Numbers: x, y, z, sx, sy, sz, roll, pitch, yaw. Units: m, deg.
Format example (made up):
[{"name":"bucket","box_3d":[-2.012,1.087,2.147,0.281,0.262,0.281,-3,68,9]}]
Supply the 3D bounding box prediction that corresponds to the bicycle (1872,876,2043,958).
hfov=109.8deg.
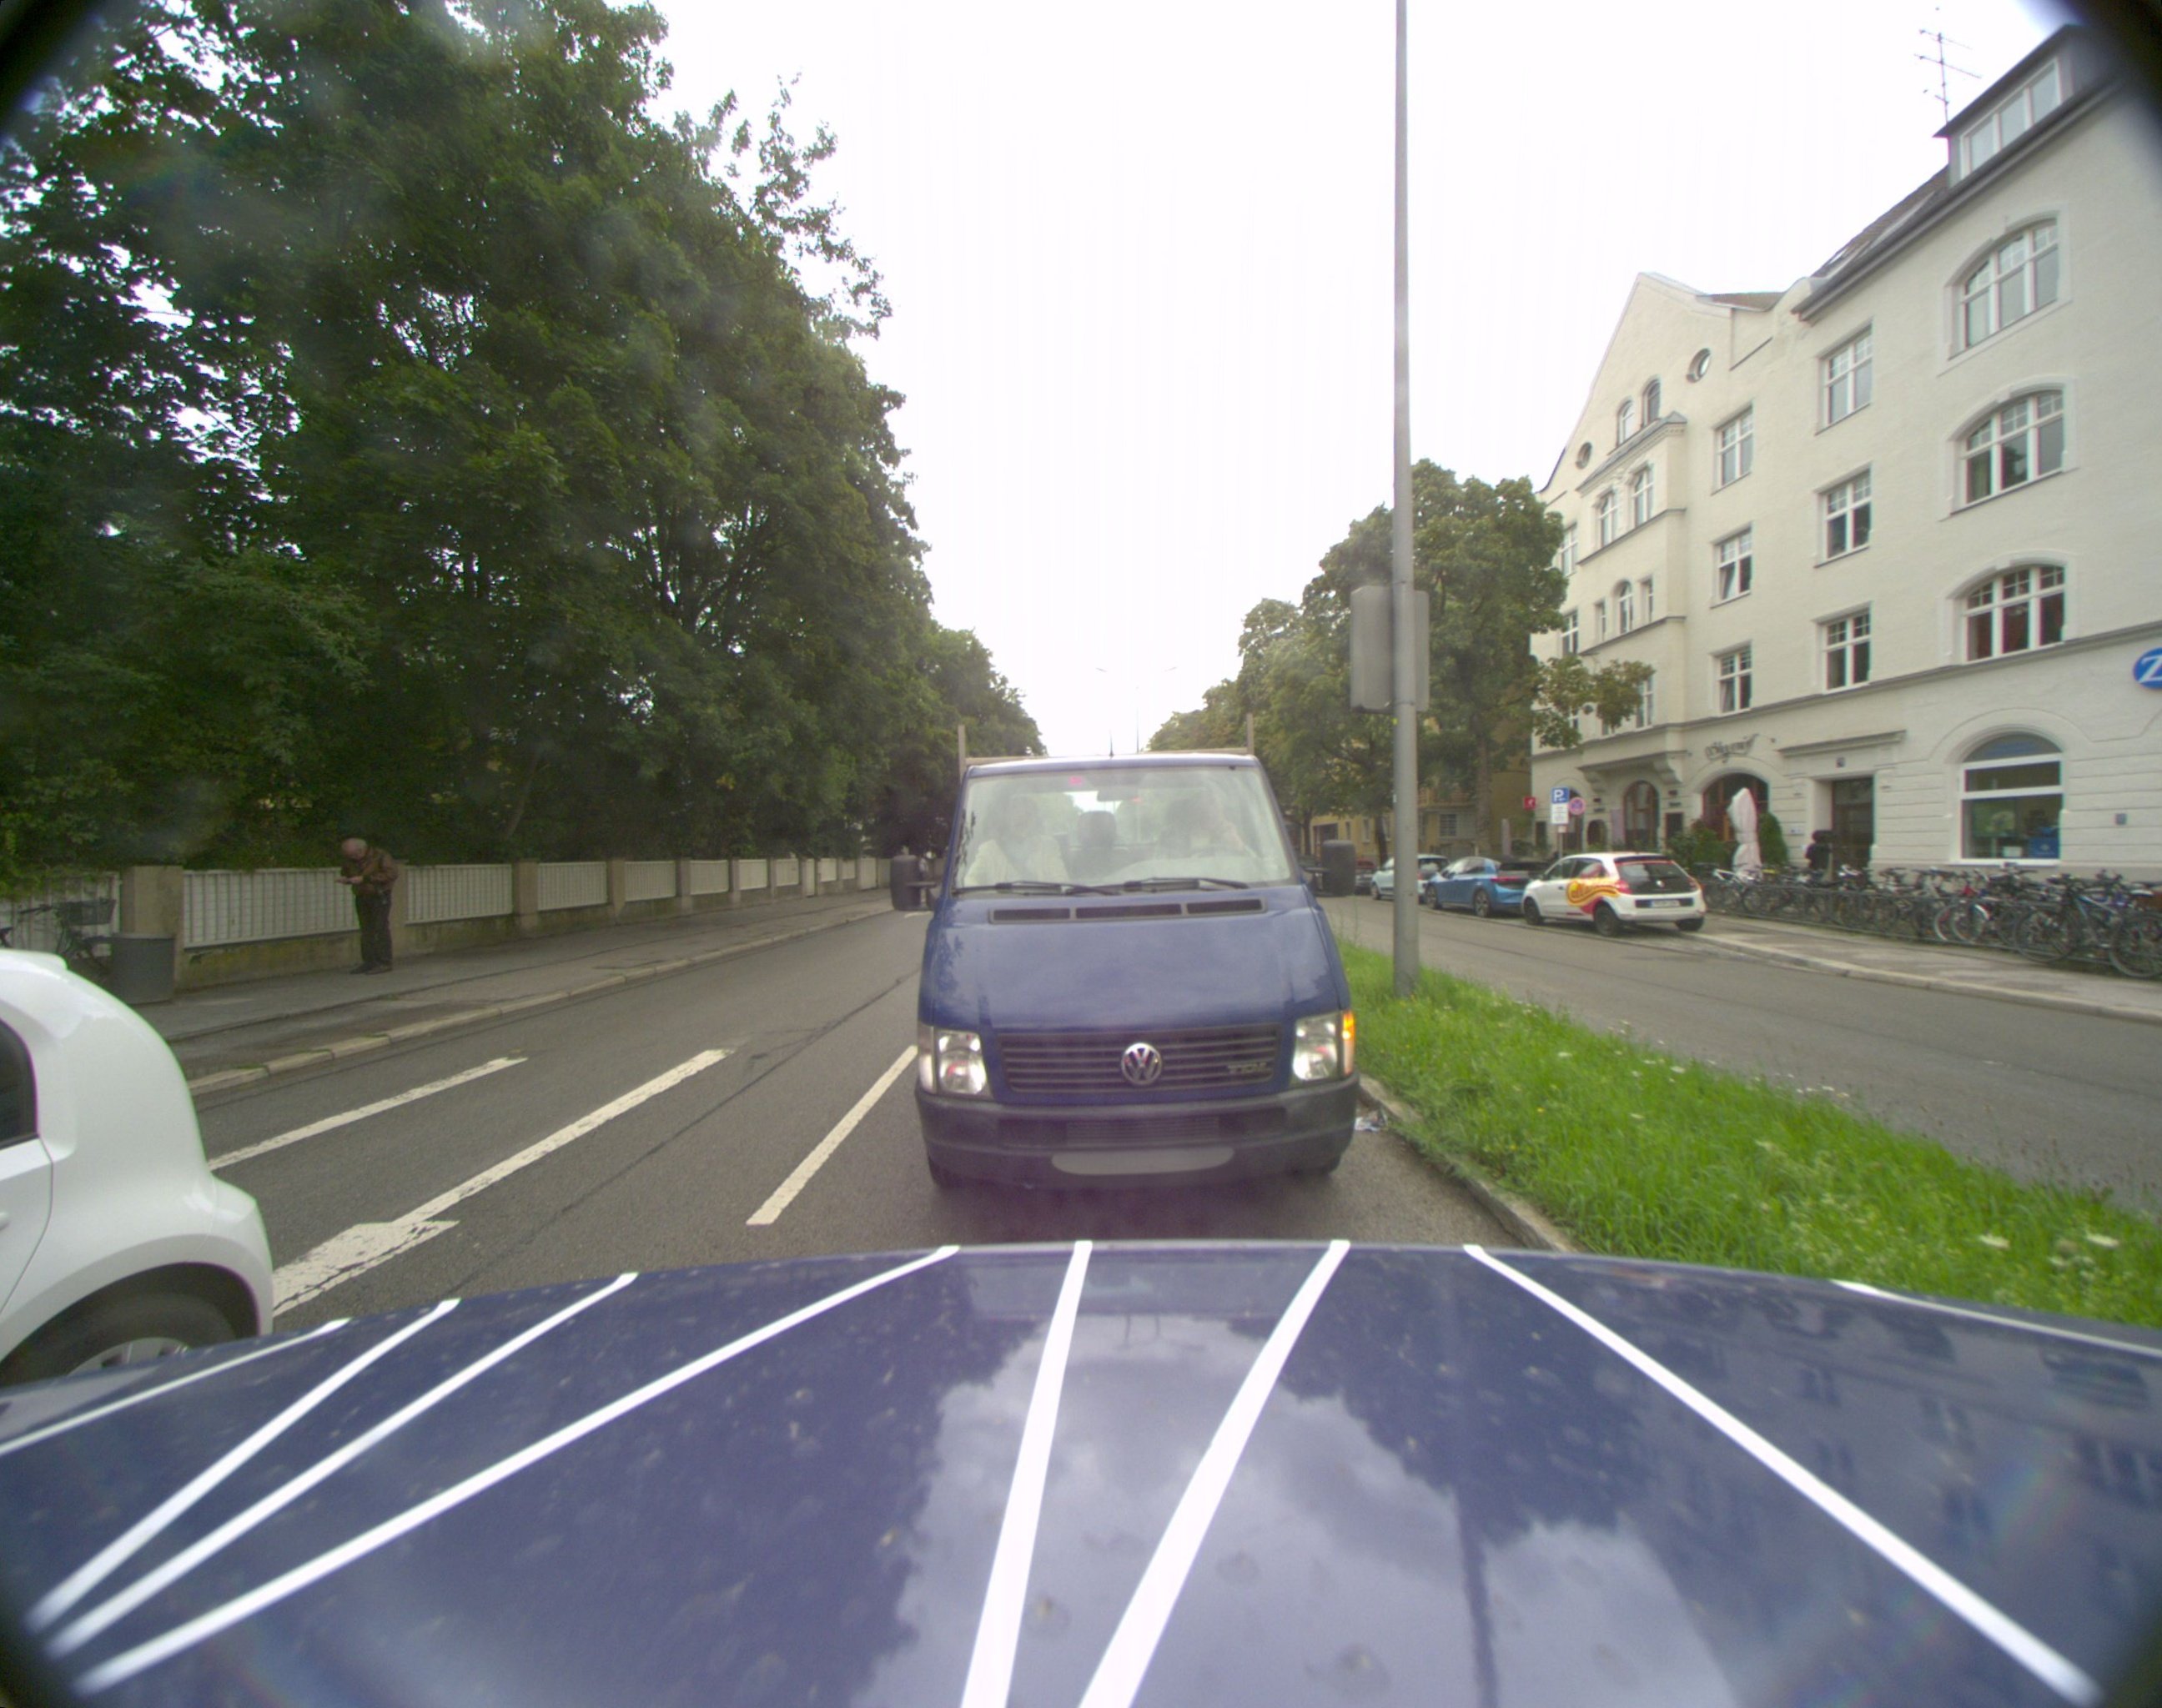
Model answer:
[{"name":"bicycle","box_3d":[13.218,0.904,11.529,0.331,1.109,1.678,-1,0,-23]}]

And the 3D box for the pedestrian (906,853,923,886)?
[{"name":"pedestrian","box_3d":[-8.563,0.795,39.023,0.668,1.695,0.766,1,1,0]}]

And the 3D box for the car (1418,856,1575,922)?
[{"name":"car","box_3d":[10.687,0.825,19.955,1.815,1.498,4.291,-1,0,1]}]

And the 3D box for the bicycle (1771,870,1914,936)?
[{"name":"bicycle","box_3d":[14.008,0.872,14.048,0.331,1.109,1.871,-1,0,-23]}]

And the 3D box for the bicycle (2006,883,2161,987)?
[{"name":"bicycle","box_3d":[12.107,0.924,8.836,0.368,1.109,1.678,-1,0,-23]}]

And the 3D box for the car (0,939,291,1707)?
[{"name":"car","box_3d":[-2.999,1.026,0.275,1.647,1.553,3.586,-1,0,0]}]

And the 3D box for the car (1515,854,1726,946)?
[{"name":"car","box_3d":[10.577,0.811,15.273,1.653,1.576,3.790,-1,0,2]}]

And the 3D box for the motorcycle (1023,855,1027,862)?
[{"name":"motorcycle","box_3d":[-8.920,0.699,121.526,0.497,1.135,1.631,-1,0,-10]}]

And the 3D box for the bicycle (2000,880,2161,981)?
[{"name":"bicycle","box_3d":[12.403,0.902,9.150,0.331,1.109,1.678,-1,0,-23]}]

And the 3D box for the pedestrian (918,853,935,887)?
[{"name":"pedestrian","box_3d":[-7.920,0.829,39.037,0.668,1.695,0.766,1,1,0]}]

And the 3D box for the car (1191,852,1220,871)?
[{"name":"car","box_3d":[11.365,0.652,69.648,1.883,1.636,4.770,-1,0,1]}]

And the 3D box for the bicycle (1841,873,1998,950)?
[{"name":"bicycle","box_3d":[13.432,0.889,12.233,0.331,1.109,1.678,-1,0,-23]}]

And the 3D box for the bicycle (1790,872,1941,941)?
[{"name":"bicycle","box_3d":[13.822,0.889,13.469,0.331,1.109,1.871,-1,0,-23]}]

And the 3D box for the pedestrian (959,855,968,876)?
[{"name":"pedestrian","box_3d":[-8.668,0.848,55.916,0.529,1.572,0.729,1,1,0]}]

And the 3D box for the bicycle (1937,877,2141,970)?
[{"name":"bicycle","box_3d":[12.842,0.889,10.261,0.331,1.109,1.678,-1,0,-23]}]

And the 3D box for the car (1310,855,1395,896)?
[{"name":"car","box_3d":[10.773,0.801,30.523,1.815,1.498,4.645,-1,0,1]}]

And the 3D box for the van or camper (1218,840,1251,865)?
[{"name":"van or camper","box_3d":[17.031,-0.156,84.622,2.351,2.564,6.851,-1,0,1]}]

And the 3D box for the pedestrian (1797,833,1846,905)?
[{"name":"pedestrian","box_3d":[17.130,0.342,17.586,0.422,1.622,0.783,-1,1,7]}]

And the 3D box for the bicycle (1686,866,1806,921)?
[{"name":"bicycle","box_3d":[14.679,0.842,16.837,0.460,1.109,1.961,-1,0,-31]}]

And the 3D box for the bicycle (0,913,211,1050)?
[{"name":"bicycle","box_3d":[-9.846,1.190,7.295,0.624,1.084,2.026,-1,0,0]}]

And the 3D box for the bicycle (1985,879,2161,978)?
[{"name":"bicycle","box_3d":[12.676,0.902,9.541,0.367,1.109,1.678,-1,0,-23]}]

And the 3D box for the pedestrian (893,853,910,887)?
[{"name":"pedestrian","box_3d":[-9.192,0.828,39.011,0.668,1.695,0.766,1,1,0]}]

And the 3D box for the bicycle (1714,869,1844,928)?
[{"name":"bicycle","box_3d":[14.243,0.878,15.568,0.550,1.109,1.877,-1,0,-31]}]

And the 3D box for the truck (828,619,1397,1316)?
[{"name":"truck","box_3d":[0.155,0.408,5.295,1.998,2.475,5.151,-1,0,1]}]

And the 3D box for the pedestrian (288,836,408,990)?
[{"name":"pedestrian","box_3d":[-9.593,0.744,9.976,0.779,1.931,0.802,0,1,1]}]

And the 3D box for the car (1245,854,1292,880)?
[{"name":"car","box_3d":[10.985,0.747,44.862,1.731,1.394,4.404,-1,0,1]}]

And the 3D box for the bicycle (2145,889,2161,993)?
[{"name":"bicycle","box_3d":[12.098,0.945,7.589,0.331,1.109,1.678,-1,0,-23]}]

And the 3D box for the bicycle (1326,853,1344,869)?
[{"name":"bicycle","box_3d":[19.329,0.527,57.887,0.771,1.215,1.930,-1,0,0]}]

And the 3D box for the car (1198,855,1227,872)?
[{"name":"car","box_3d":[10.990,0.769,63.795,1.731,1.398,4.363,-1,0,1]}]

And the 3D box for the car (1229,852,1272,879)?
[{"name":"car","box_3d":[11.187,0.726,50.477,1.815,1.718,4.767,-1,0,1]}]

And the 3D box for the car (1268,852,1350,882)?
[{"name":"car","box_3d":[12.359,0.669,41.342,3.899,1.455,1.732,-2,0,-1]}]

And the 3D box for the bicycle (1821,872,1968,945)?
[{"name":"bicycle","box_3d":[13.646,0.882,12.808,0.331,1.109,1.678,-1,0,-23]}]

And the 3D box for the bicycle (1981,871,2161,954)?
[{"name":"bicycle","box_3d":[14.771,0.834,11.364,0.331,1.109,1.678,-1,0,-23]}]

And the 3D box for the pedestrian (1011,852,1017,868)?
[{"name":"pedestrian","box_3d":[-6.672,0.630,76.128,0.529,1.572,0.729,1,1,0]}]

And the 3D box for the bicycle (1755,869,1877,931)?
[{"name":"bicycle","box_3d":[14.212,0.854,14.750,0.331,1.109,1.677,-1,0,-27]}]

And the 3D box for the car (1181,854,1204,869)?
[{"name":"car","box_3d":[11.100,0.726,75.720,1.696,1.446,4.492,-1,0,1]}]

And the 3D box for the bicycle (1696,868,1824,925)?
[{"name":"bicycle","box_3d":[14.449,0.875,16.230,0.505,1.109,1.984,-1,0,-31]}]

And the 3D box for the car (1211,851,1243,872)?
[{"name":"car","box_3d":[11.352,0.568,59.153,1.731,1.552,4.057,-1,0,1]}]

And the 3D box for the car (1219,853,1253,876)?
[{"name":"car","box_3d":[11.171,0.728,54.958,1.731,1.549,3.009,-1,0,-1]}]

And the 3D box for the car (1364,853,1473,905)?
[{"name":"car","box_3d":[10.863,0.750,24.748,1.815,1.498,3.960,-1,0,1]}]

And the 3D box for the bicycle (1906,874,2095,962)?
[{"name":"bicycle","box_3d":[13.054,0.869,10.854,0.383,1.109,1.678,-1,0,-23]}]
